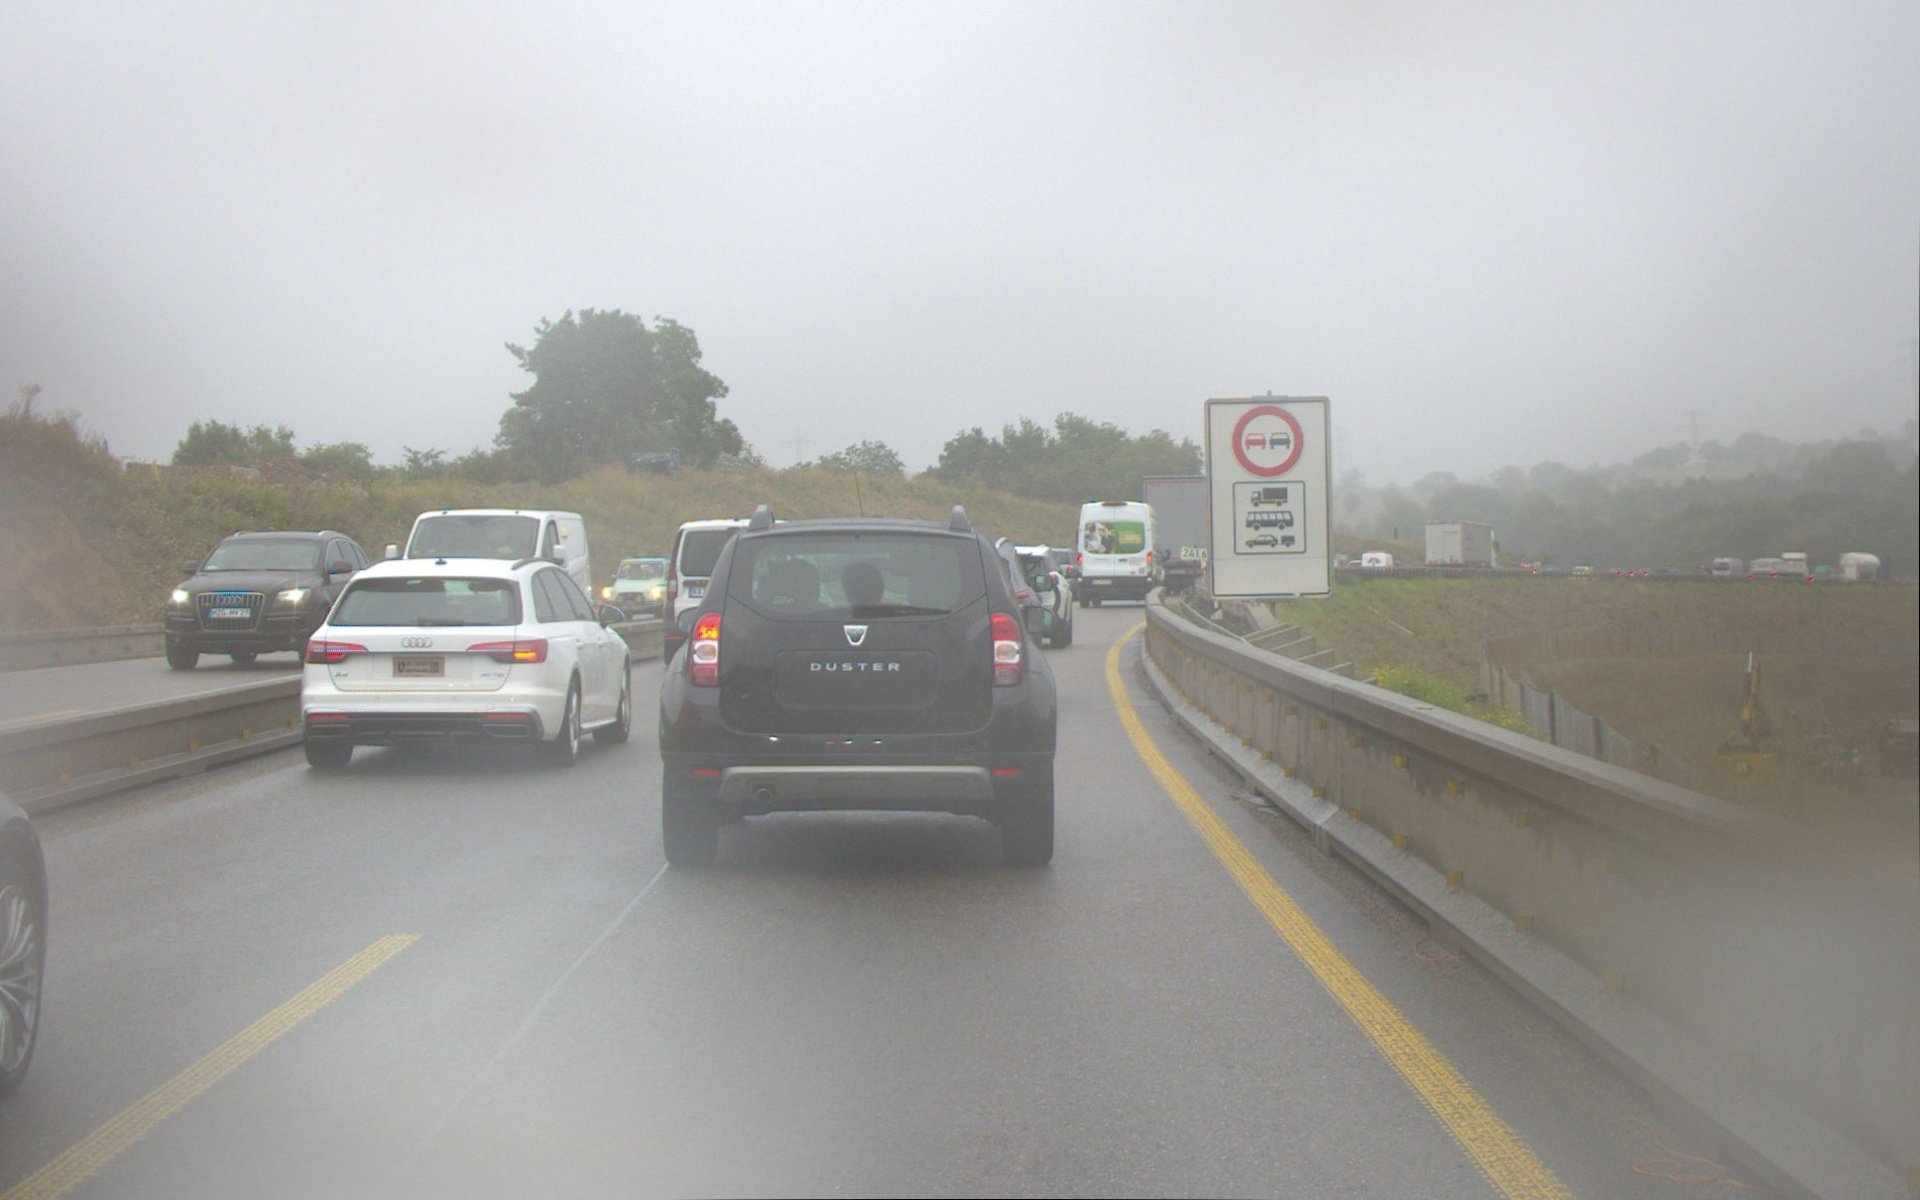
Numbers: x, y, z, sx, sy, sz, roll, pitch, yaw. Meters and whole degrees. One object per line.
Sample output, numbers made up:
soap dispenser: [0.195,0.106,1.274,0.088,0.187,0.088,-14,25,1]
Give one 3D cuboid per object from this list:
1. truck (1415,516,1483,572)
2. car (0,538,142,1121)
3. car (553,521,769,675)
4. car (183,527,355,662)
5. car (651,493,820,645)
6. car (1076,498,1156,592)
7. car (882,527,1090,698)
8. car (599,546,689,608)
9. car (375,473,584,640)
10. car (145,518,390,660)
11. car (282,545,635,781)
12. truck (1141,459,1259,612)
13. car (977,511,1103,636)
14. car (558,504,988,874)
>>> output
truck: [33.155,-3.830,232.964,3.474,3.702,8.412,-1,1,15]
car: [-3.348,0.666,7.461,1.735,1.457,5.630,0,2,1]
car: [-3.025,-0.029,35.529,1.826,1.494,4.000,0,0,1]
car: [-8.666,-0.097,43.310,1.531,1.596,3.167,0,2,0]
car: [-2.773,-0.384,43.245,1.826,1.809,4.000,0,0,0]
car: [4.171,-1.447,91.405,1.827,2.429,4.157,0,0,7]
car: [0.256,0.103,32.310,1.826,1.494,4.000,0,0,1]
car: [-7.285,-0.555,79.552,1.580,1.378,4.000,0,1,2]
car: [-6.026,-0.593,43.660,1.993,1.992,4.970,0,2,0]
car: [-8.756,-0.192,43.895,1.993,1.681,4.969,0,2,2]
car: [-3.394,0.391,23.957,1.826,1.494,4.000,0,0,1]
truck: [8.425,-2.180,119.239,3.544,5.060,10.439,0,0,7]
car: [1.247,-0.401,52.188,1.826,1.809,4.000,0,0,3]
car: [-0.793,0.376,16.864,1.826,1.585,4.000,0,0,1]
